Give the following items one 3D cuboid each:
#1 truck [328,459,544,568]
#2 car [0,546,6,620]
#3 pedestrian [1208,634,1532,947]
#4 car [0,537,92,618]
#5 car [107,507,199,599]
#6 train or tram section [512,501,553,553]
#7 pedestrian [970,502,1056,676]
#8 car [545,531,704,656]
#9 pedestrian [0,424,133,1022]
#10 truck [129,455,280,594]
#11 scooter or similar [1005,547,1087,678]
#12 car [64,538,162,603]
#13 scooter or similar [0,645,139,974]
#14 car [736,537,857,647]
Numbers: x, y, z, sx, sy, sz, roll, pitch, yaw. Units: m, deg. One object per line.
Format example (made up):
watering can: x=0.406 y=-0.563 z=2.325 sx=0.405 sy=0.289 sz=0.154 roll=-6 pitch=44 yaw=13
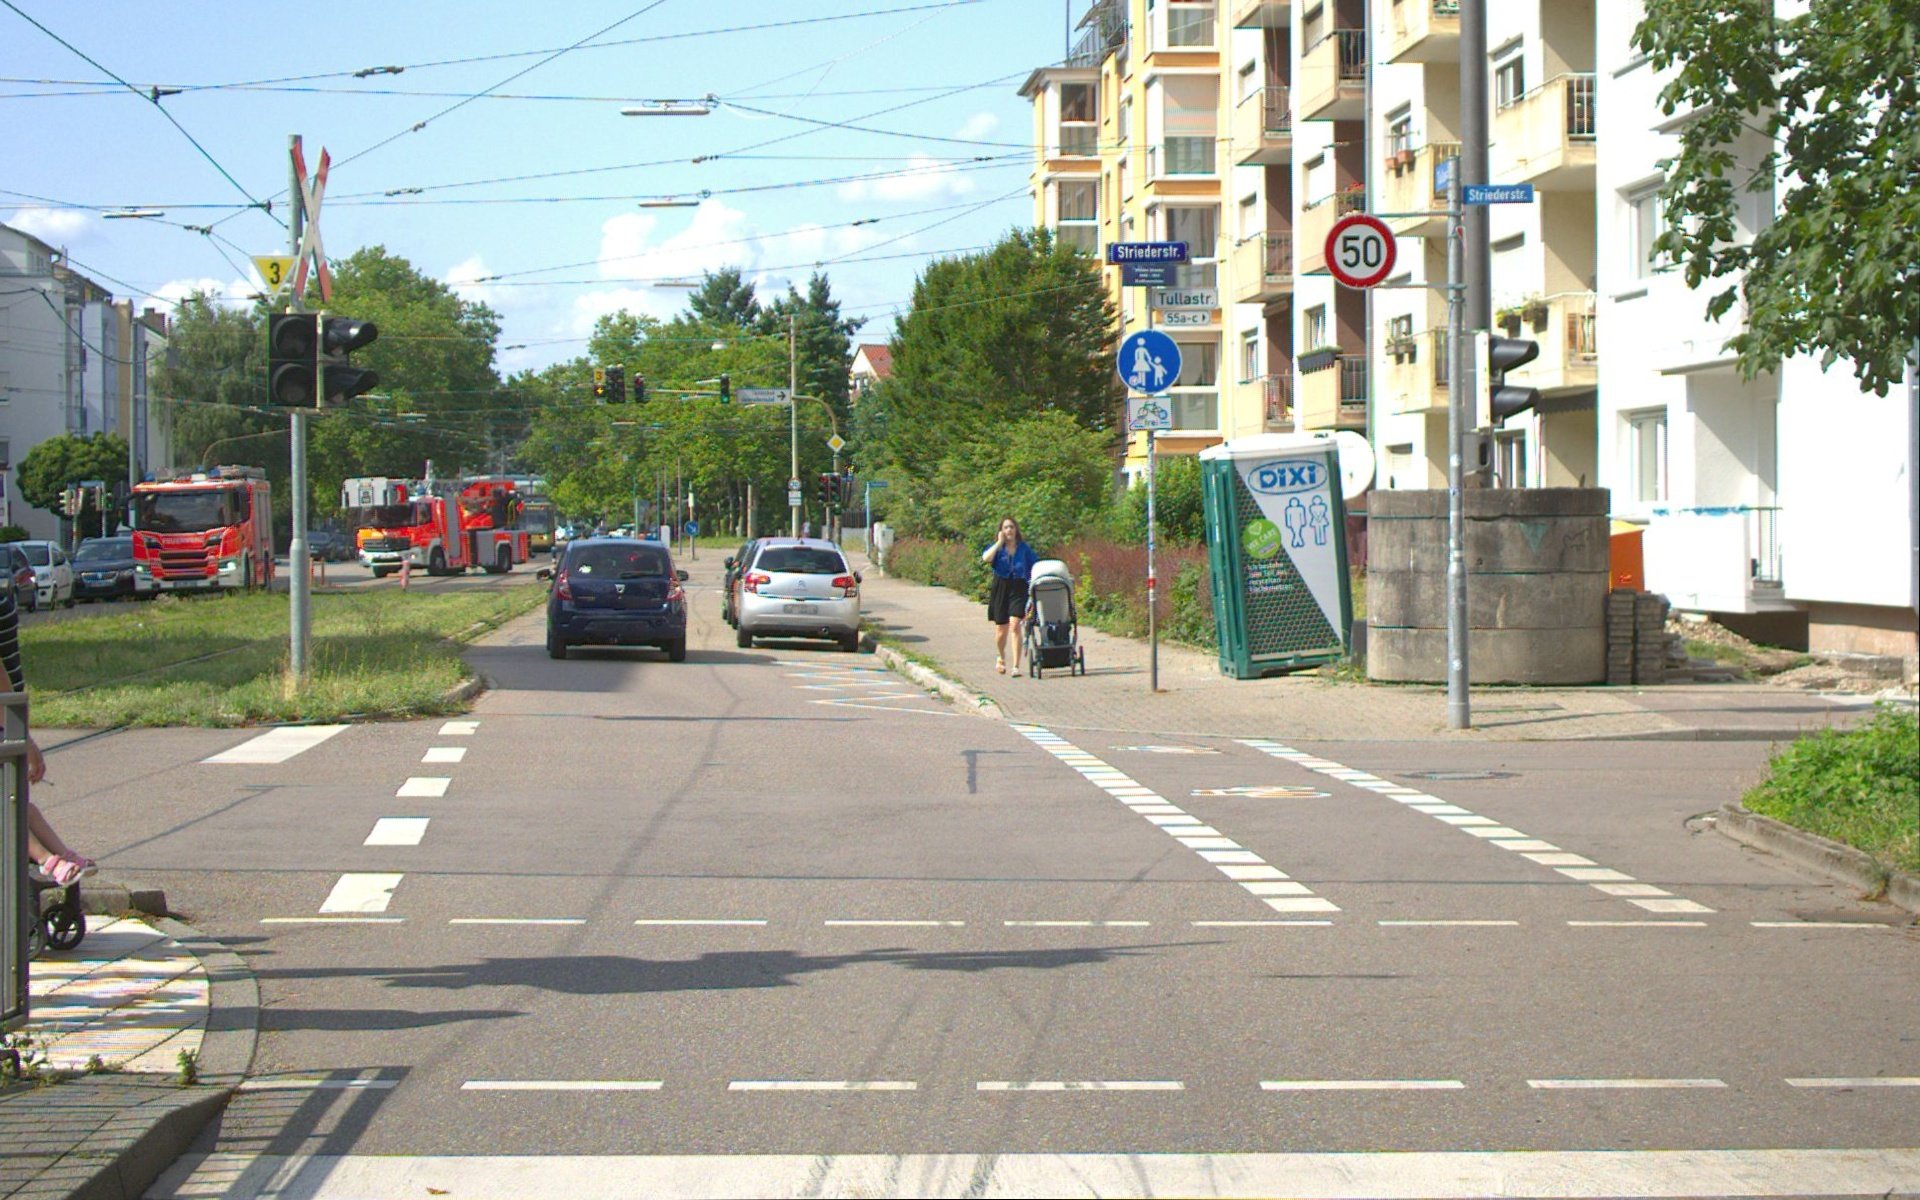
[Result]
truck: x=-17.651 y=-2.860 z=116.727 sx=2.669 sy=3.458 sz=10.157 roll=1 pitch=1 yaw=20
car: x=-19.334 y=-0.328 z=64.922 sx=1.768 sy=1.437 sz=4.001 roll=1 pitch=1 yaw=-4
pedestrian: x=2.945 y=1.320 z=25.514 sx=1.993 sy=2.007 sz=4.000 roll=1 pitch=1 yaw=2
car: x=-20.521 y=-0.517 z=75.815 sx=1.993 sy=1.705 sz=4.001 roll=1 pitch=1 yaw=-4
car: x=-21.707 y=-1.267 z=92.617 sx=1.776 sy=2.391 sz=4.696 roll=1 pitch=1 yaw=-6
train or tram section: x=-25.931 y=-4.421 z=208.850 sx=2.258 sy=3.058 sz=8.135 roll=-1 pitch=1 yaw=-6
pedestrian: x=0.556 y=-0.128 z=36.502 sx=0.701 sy=1.783 sz=1.030 roll=-3 pitch=1 yaw=-6
car: x=-4.248 y=-0.105 z=44.027 sx=1.744 sy=1.502 sz=4.000 roll=1 pitch=1 yaw=-2
pedestrian: x=-2.870 y=0.341 z=9.911 sx=0.845 sy=1.662 sz=0.799 roll=-1 pitch=1 yaw=-19
truck: x=-18.133 y=-1.799 z=82.944 sx=2.596 sy=3.175 sz=8.384 roll=0 pitch=1 yaw=-6
scooter or similar: x=0.885 y=0.119 z=35.629 sx=0.662 sy=1.299 sz=0.869 roll=-4 pitch=2 yaw=-6
car: x=-21.115 y=-0.746 z=85.803 sx=1.776 sy=1.551 sz=4.001 roll=1 pitch=1 yaw=-6
scooter or similar: x=-3.385 y=0.686 z=11.561 sx=1.100 sy=1.052 sz=0.651 roll=1 pitch=1 yaw=-3
car: x=-2.328 y=-0.135 z=48.766 sx=1.622 sy=1.460 sz=3.511 roll=1 pitch=1 yaw=-3
